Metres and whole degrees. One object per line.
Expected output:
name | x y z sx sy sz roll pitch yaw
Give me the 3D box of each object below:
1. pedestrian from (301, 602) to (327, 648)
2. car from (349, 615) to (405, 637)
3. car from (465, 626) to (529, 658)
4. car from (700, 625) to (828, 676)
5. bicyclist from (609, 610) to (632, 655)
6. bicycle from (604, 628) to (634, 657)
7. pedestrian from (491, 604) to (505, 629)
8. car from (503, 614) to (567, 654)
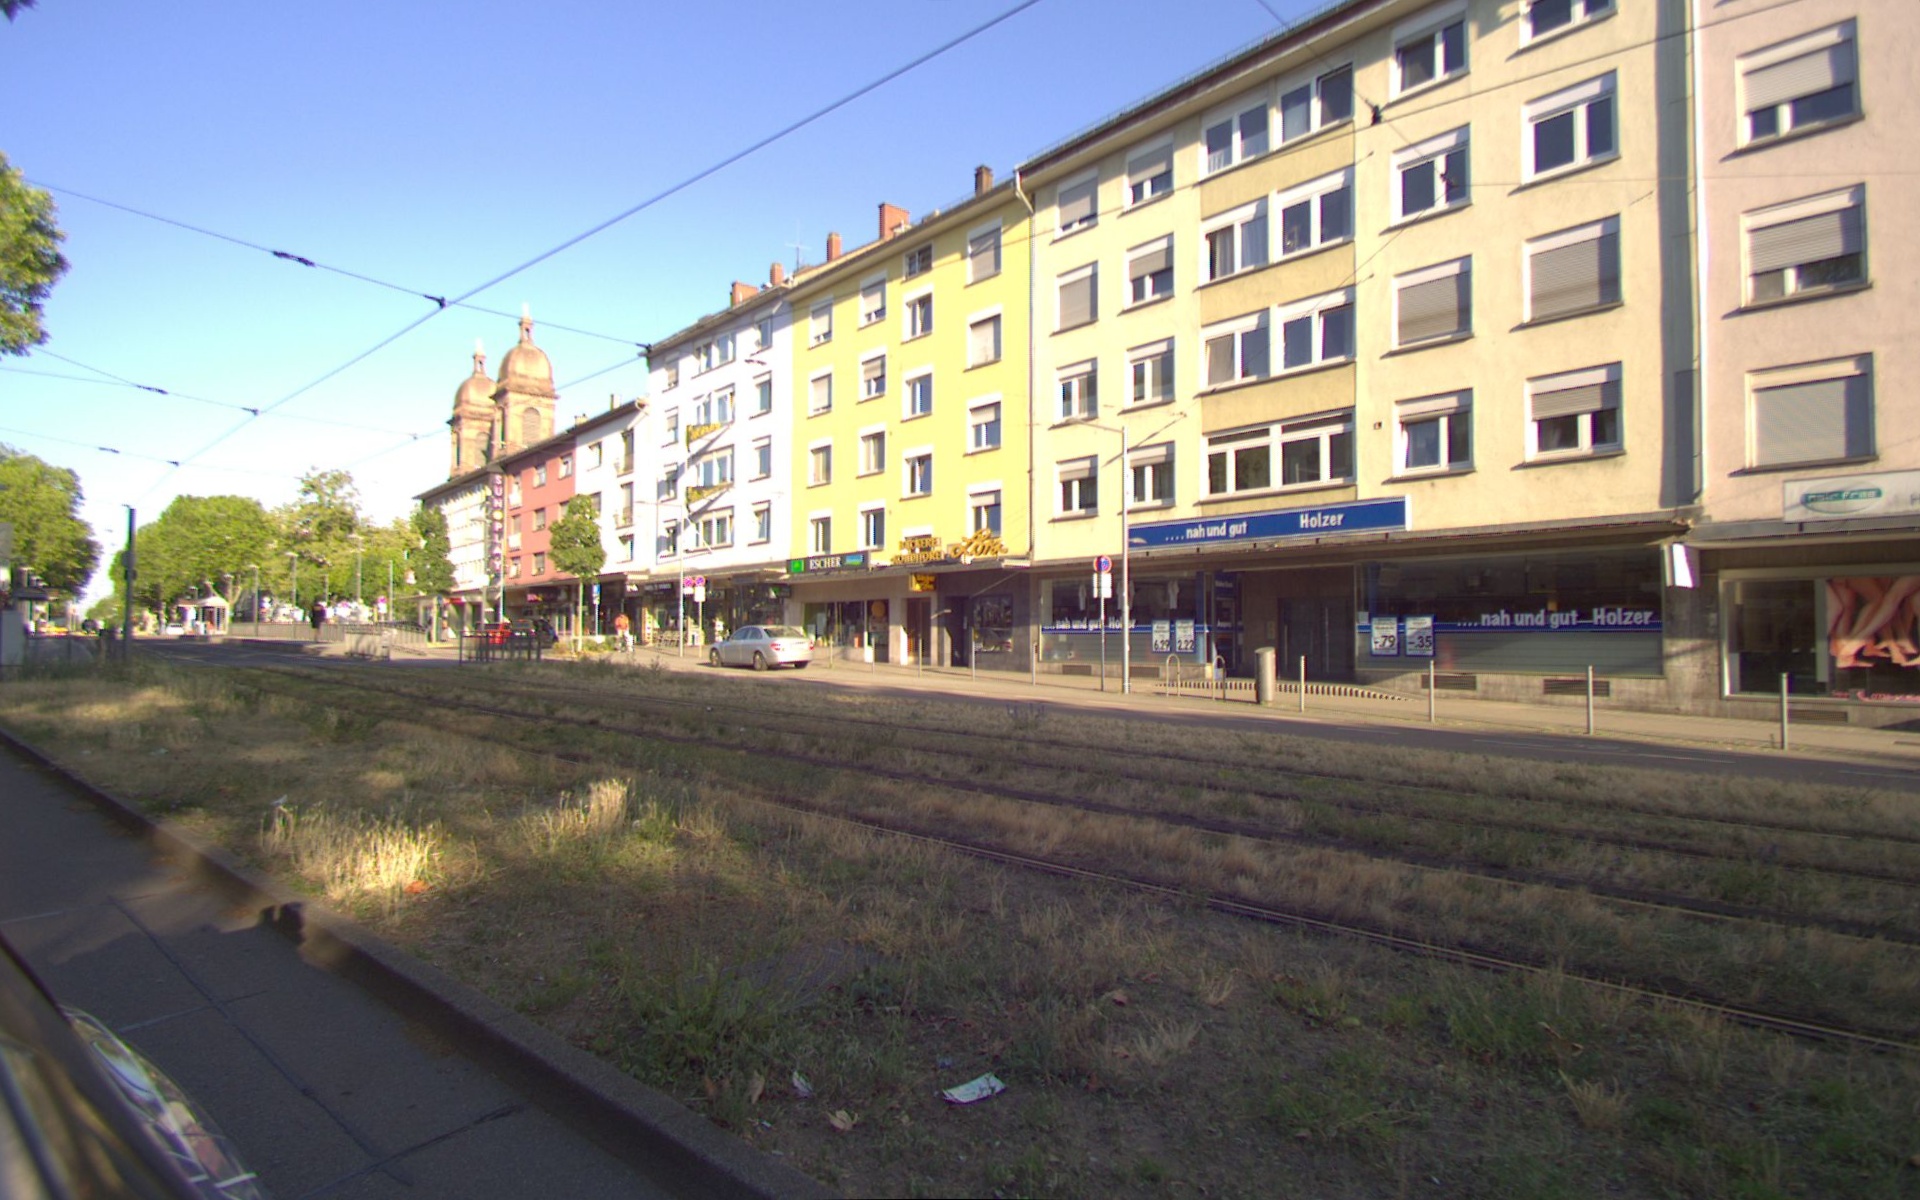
pedestrian | -26.355 1.012 41.292 0.590 1.863 0.733 -2 -3 42
car | -42.598 1.870 74.020 1.719 1.497 3.999 -1 0 1
car | -24.154 2.165 52.953 1.836 1.502 3.773 -1 0 -4
car | -6.467 1.594 33.091 1.971 1.489 4.413 -1 0 -45
bicyclist | -15.034 1.432 44.773 0.683 1.901 1.061 -2 2 -33
bicycle | -15.153 1.877 44.958 0.696 1.167 2.204 -2 2 -33
pedestrian | -33.910 1.229 74.328 0.590 1.863 0.733 -2 -3 42
car | -21.481 1.690 51.254 1.836 1.813 3.773 -1 0 -4
